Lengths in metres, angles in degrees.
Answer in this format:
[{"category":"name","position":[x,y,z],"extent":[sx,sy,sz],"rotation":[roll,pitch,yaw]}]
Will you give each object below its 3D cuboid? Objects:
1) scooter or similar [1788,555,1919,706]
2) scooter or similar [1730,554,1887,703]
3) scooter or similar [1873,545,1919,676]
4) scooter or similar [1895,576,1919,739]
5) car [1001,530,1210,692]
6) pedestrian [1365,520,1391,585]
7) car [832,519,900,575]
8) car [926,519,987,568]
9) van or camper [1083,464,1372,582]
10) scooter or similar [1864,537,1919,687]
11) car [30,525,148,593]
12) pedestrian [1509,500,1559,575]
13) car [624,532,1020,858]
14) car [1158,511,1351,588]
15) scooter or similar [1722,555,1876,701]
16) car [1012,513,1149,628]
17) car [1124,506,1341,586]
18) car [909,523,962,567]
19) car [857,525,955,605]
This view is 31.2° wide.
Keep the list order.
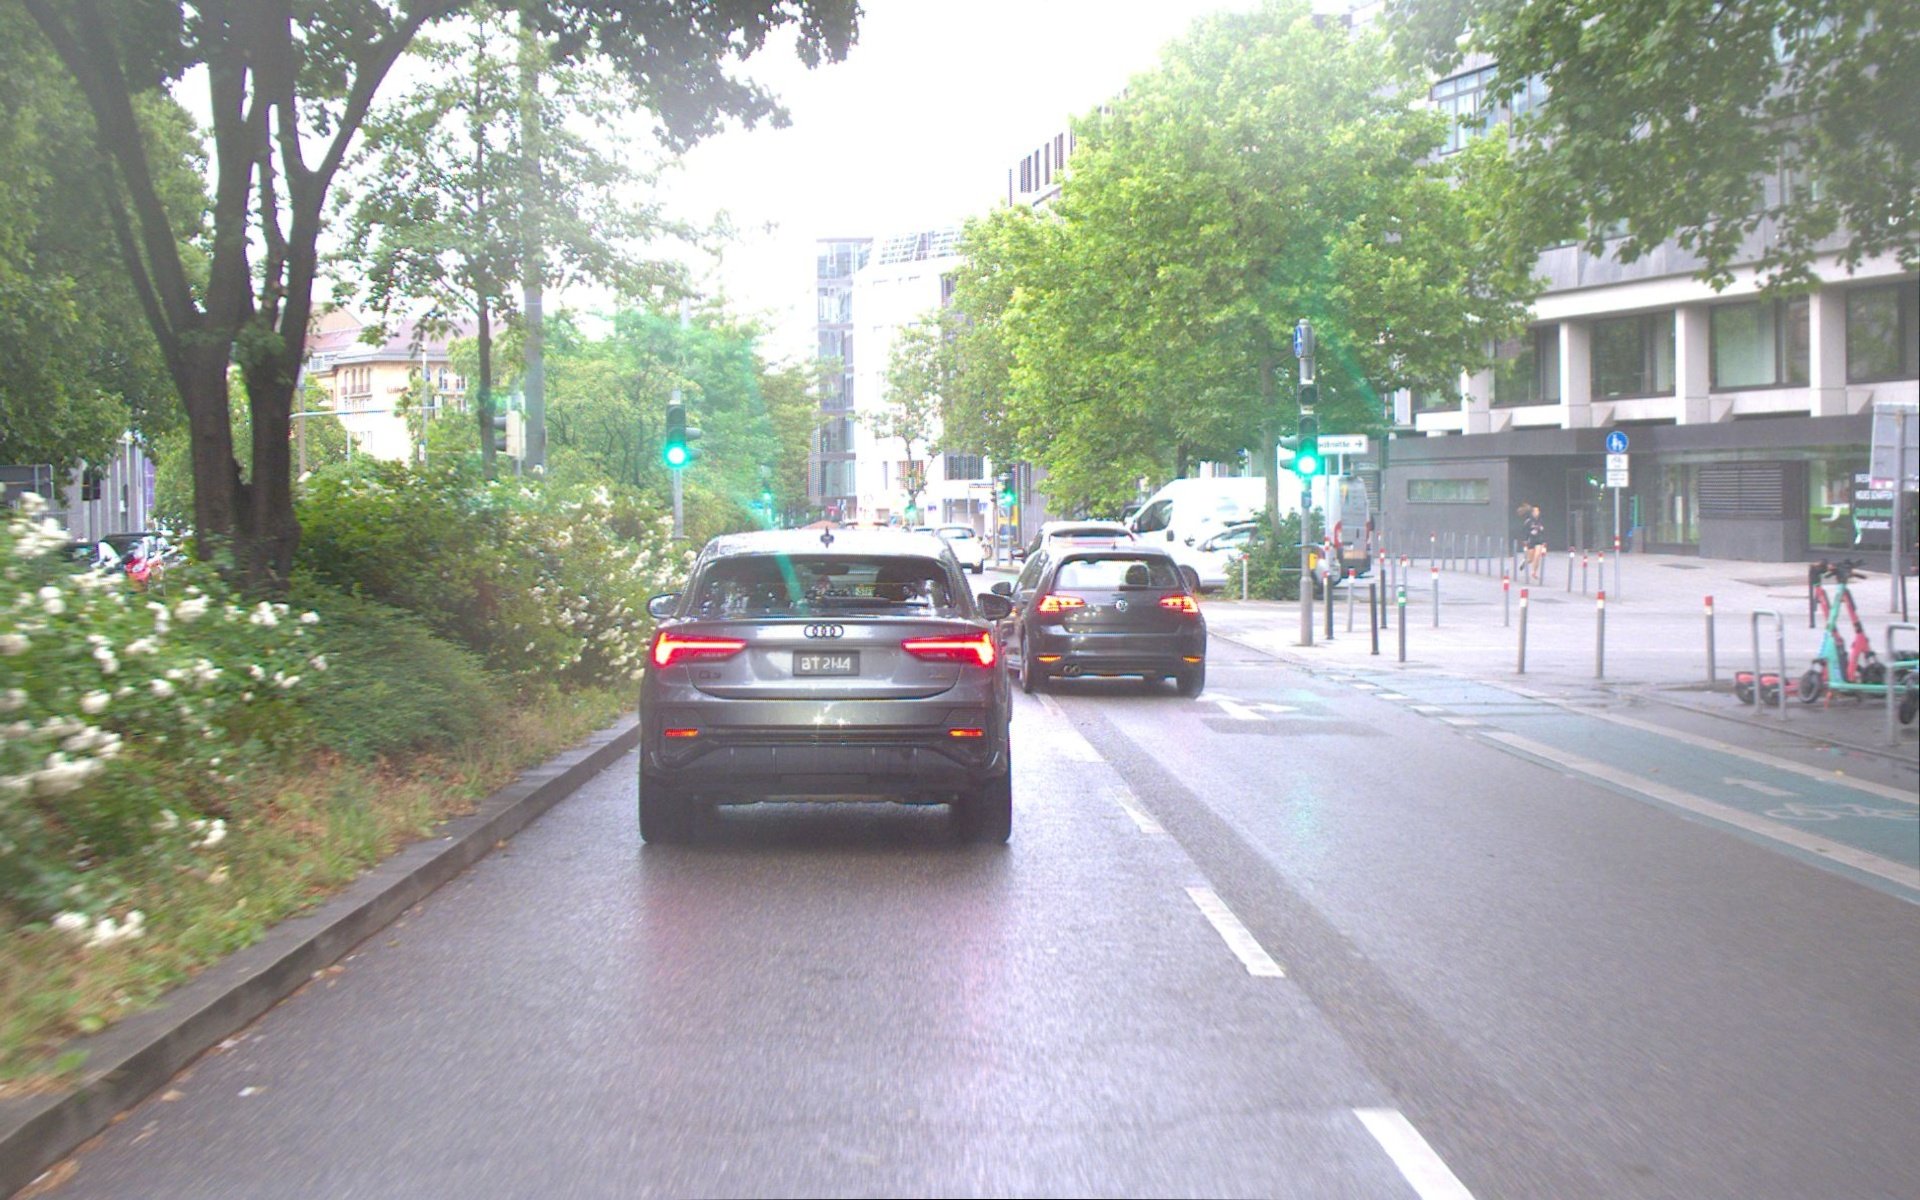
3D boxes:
[{"category":"scooter or similar","position":[7.793,0.258,29.534],"extent":[1.290,1.255,0.489],"rotation":[-1,3,11]},{"category":"scooter or similar","position":[7.410,0.250,30.065],"extent":[1.290,1.255,0.489],"rotation":[-1,3,11]},{"category":"scooter or similar","position":[8.893,0.090,31.539],"extent":[0.487,1.193,1.294],"rotation":[0,0,-10]},{"category":"scooter or similar","position":[7.956,0.425,26.600],"extent":[1.289,1.231,0.489],"rotation":[-2,3,2]},{"category":"car","position":[1.390,0.063,34.329],"extent":[1.849,1.518,4.039],"rotation":[0,1,-1]},{"category":"pedestrian","position":[11.583,-1.307,95.230],"extent":[0.553,1.799,0.762],"rotation":[1,0,-4]},{"category":"car","position":[-2.589,-1.495,95.914],"extent":[1.849,1.518,4.039],"rotation":[0,1,-1]},{"category":"car","position":[-0.132,-1.780,107.738],"extent":[1.849,1.518,4.039],"rotation":[0,1,-1]},{"category":"van or camper","position":[5.956,-1.694,76.687],"extent":[6.074,2.549,2.102],"rotation":[0,1,26]},{"category":"scooter or similar","position":[8.502,0.094,30.680],"extent":[0.487,1.255,1.294],"rotation":[-2,3,-1]},{"category":"car","position":[-20.106,-0.970,79.538],"extent":[1.768,1.430,4.673],"rotation":[-3,2,-4]},{"category":"pedestrian","position":[13.097,-1.425,78.517],"extent":[0.805,1.690,1.188],"rotation":[0,1,-6]},{"category":"car","position":[-0.704,0.406,18.090],"extent":[1.849,1.518,4.039],"rotation":[0,1,-2]},{"category":"car","position":[6.059,-1.045,70.661],"extent":[3.652,1.542,1.713],"rotation":[1,1,18]},{"category":"scooter or similar","position":[7.477,0.245,30.677],"extent":[1.290,1.255,0.489],"rotation":[-1,3,11]},{"category":"car","position":[1.766,-0.467,51.594],"extent":[1.849,1.663,4.039],"rotation":[0,1,-1]},{"category":"car","position":[5.815,-1.167,73.416],"extent":[4.262,1.662,1.816],"rotation":[1,1,25]},{"category":"car","position":[-0.891,-1.970,122.458],"extent":[1.849,1.518,4.039],"rotation":[0,1,-1]},{"category":"car","position":[-1.060,-0.714,67.545],"extent":[1.849,1.518,4.039],"rotation":[0,1,-1]}]
